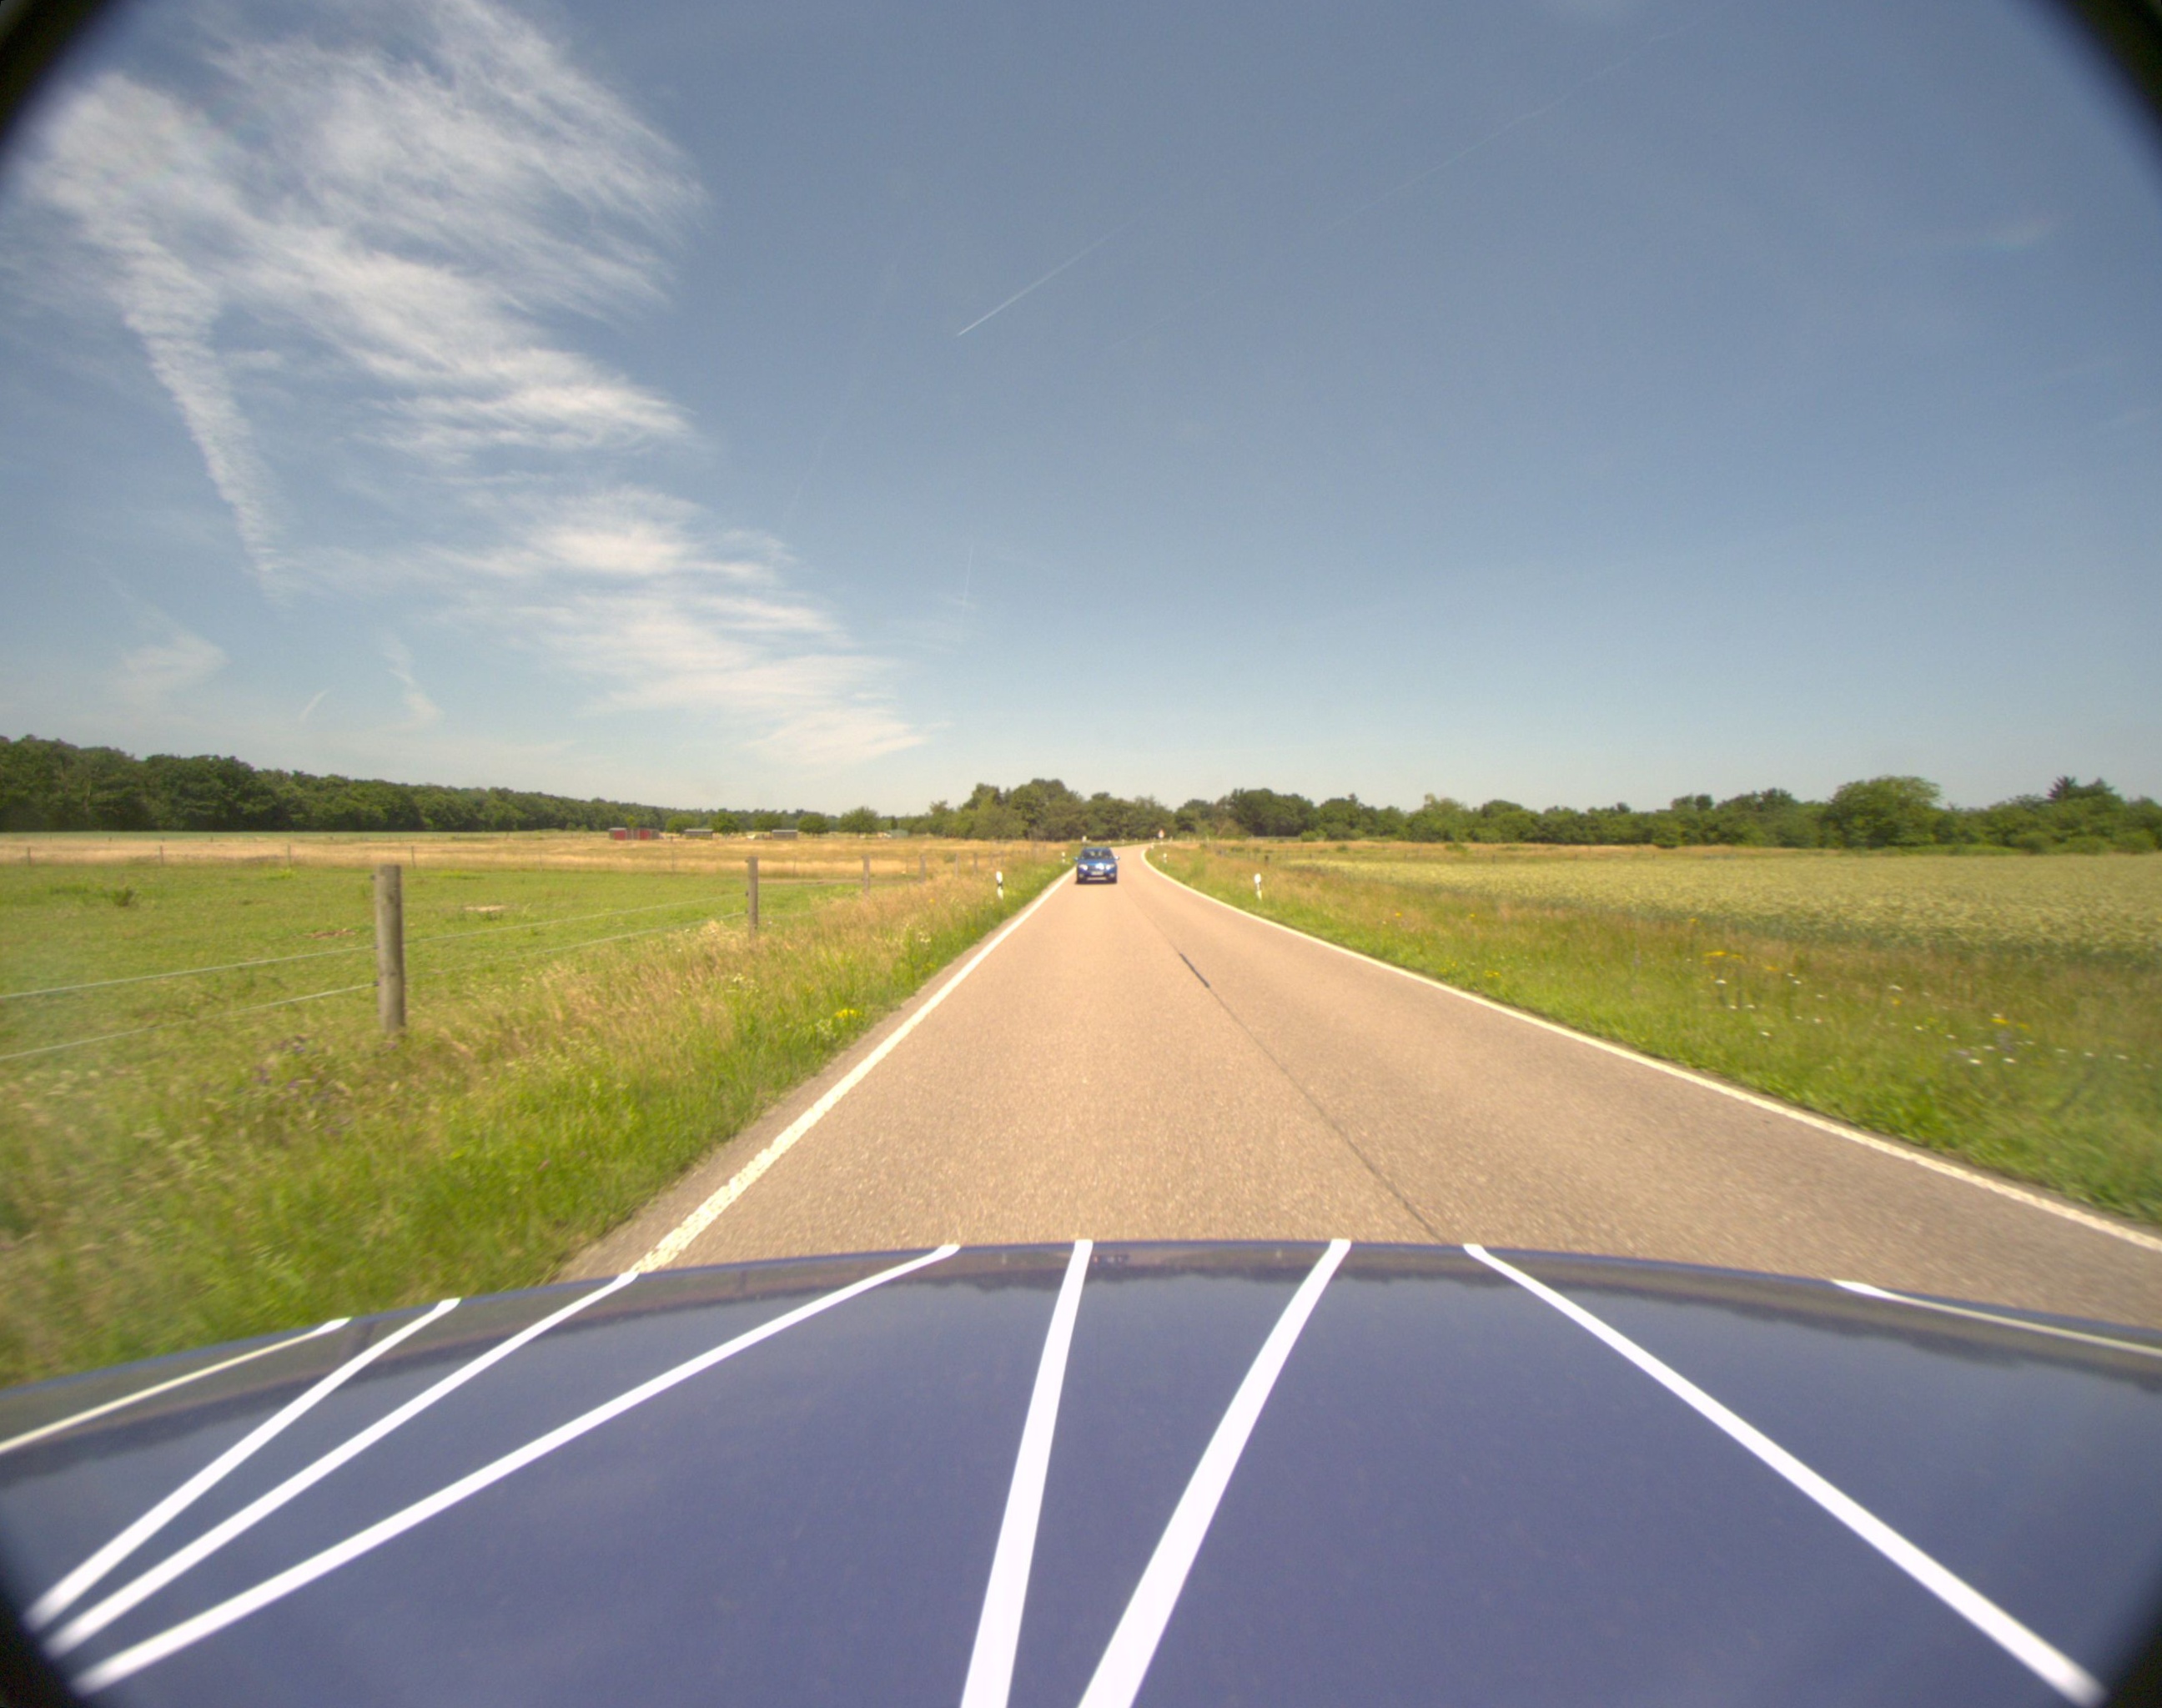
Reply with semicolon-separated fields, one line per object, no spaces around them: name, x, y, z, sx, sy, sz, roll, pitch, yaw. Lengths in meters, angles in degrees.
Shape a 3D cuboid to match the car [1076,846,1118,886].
car;0.768;0.479;33.595;1.734;1.572;4.000;-1;1;3
